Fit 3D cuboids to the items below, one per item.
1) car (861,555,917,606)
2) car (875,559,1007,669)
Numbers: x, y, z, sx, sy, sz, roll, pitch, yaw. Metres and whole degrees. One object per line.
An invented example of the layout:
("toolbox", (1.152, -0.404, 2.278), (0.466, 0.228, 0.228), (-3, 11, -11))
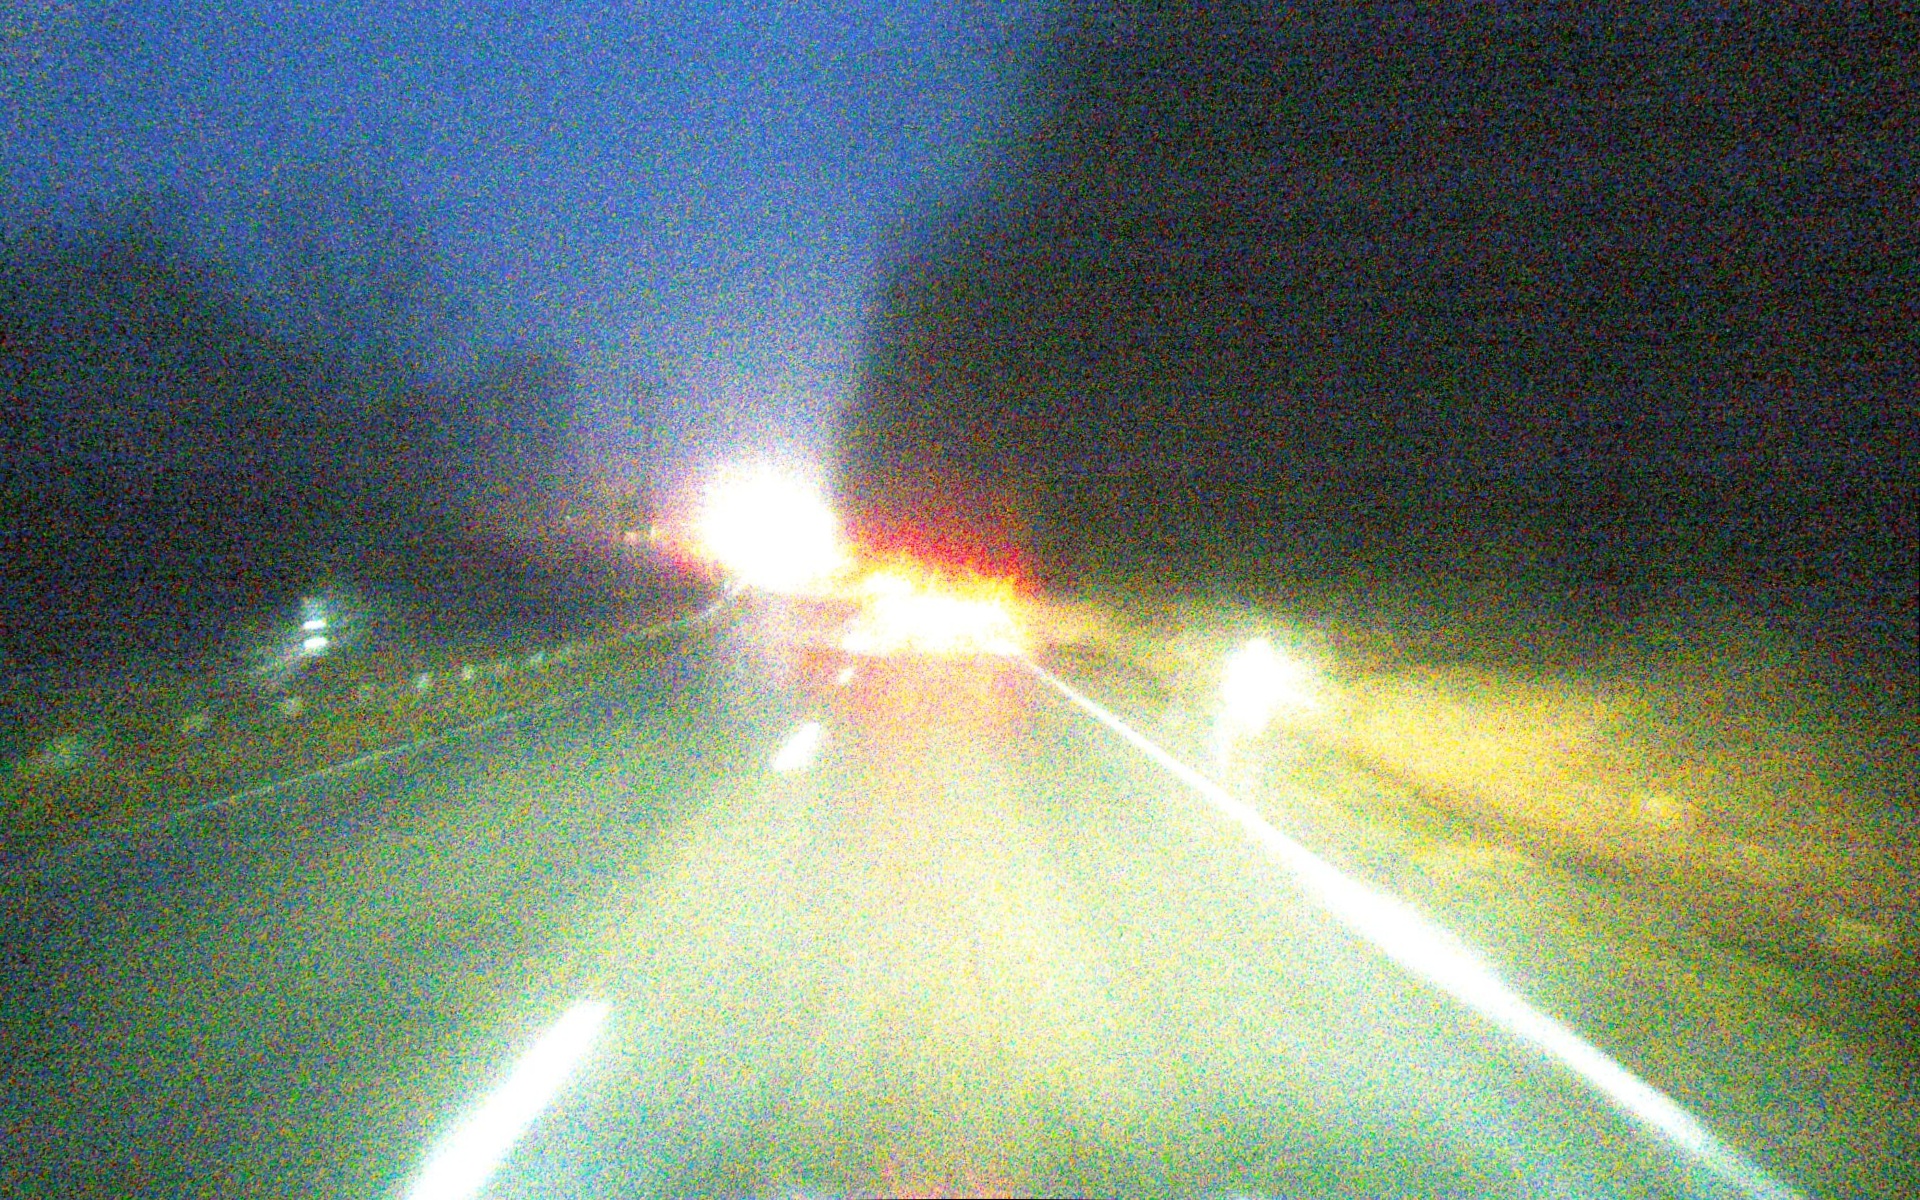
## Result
("car", (-3.093, -0.840, 70.989), (1.956, 2.048, 3.993), (2, 1, -8))
("car", (-0.316, 0.248, 32.874), (2.407, 1.992, 4.912), (1, 0, 1))
